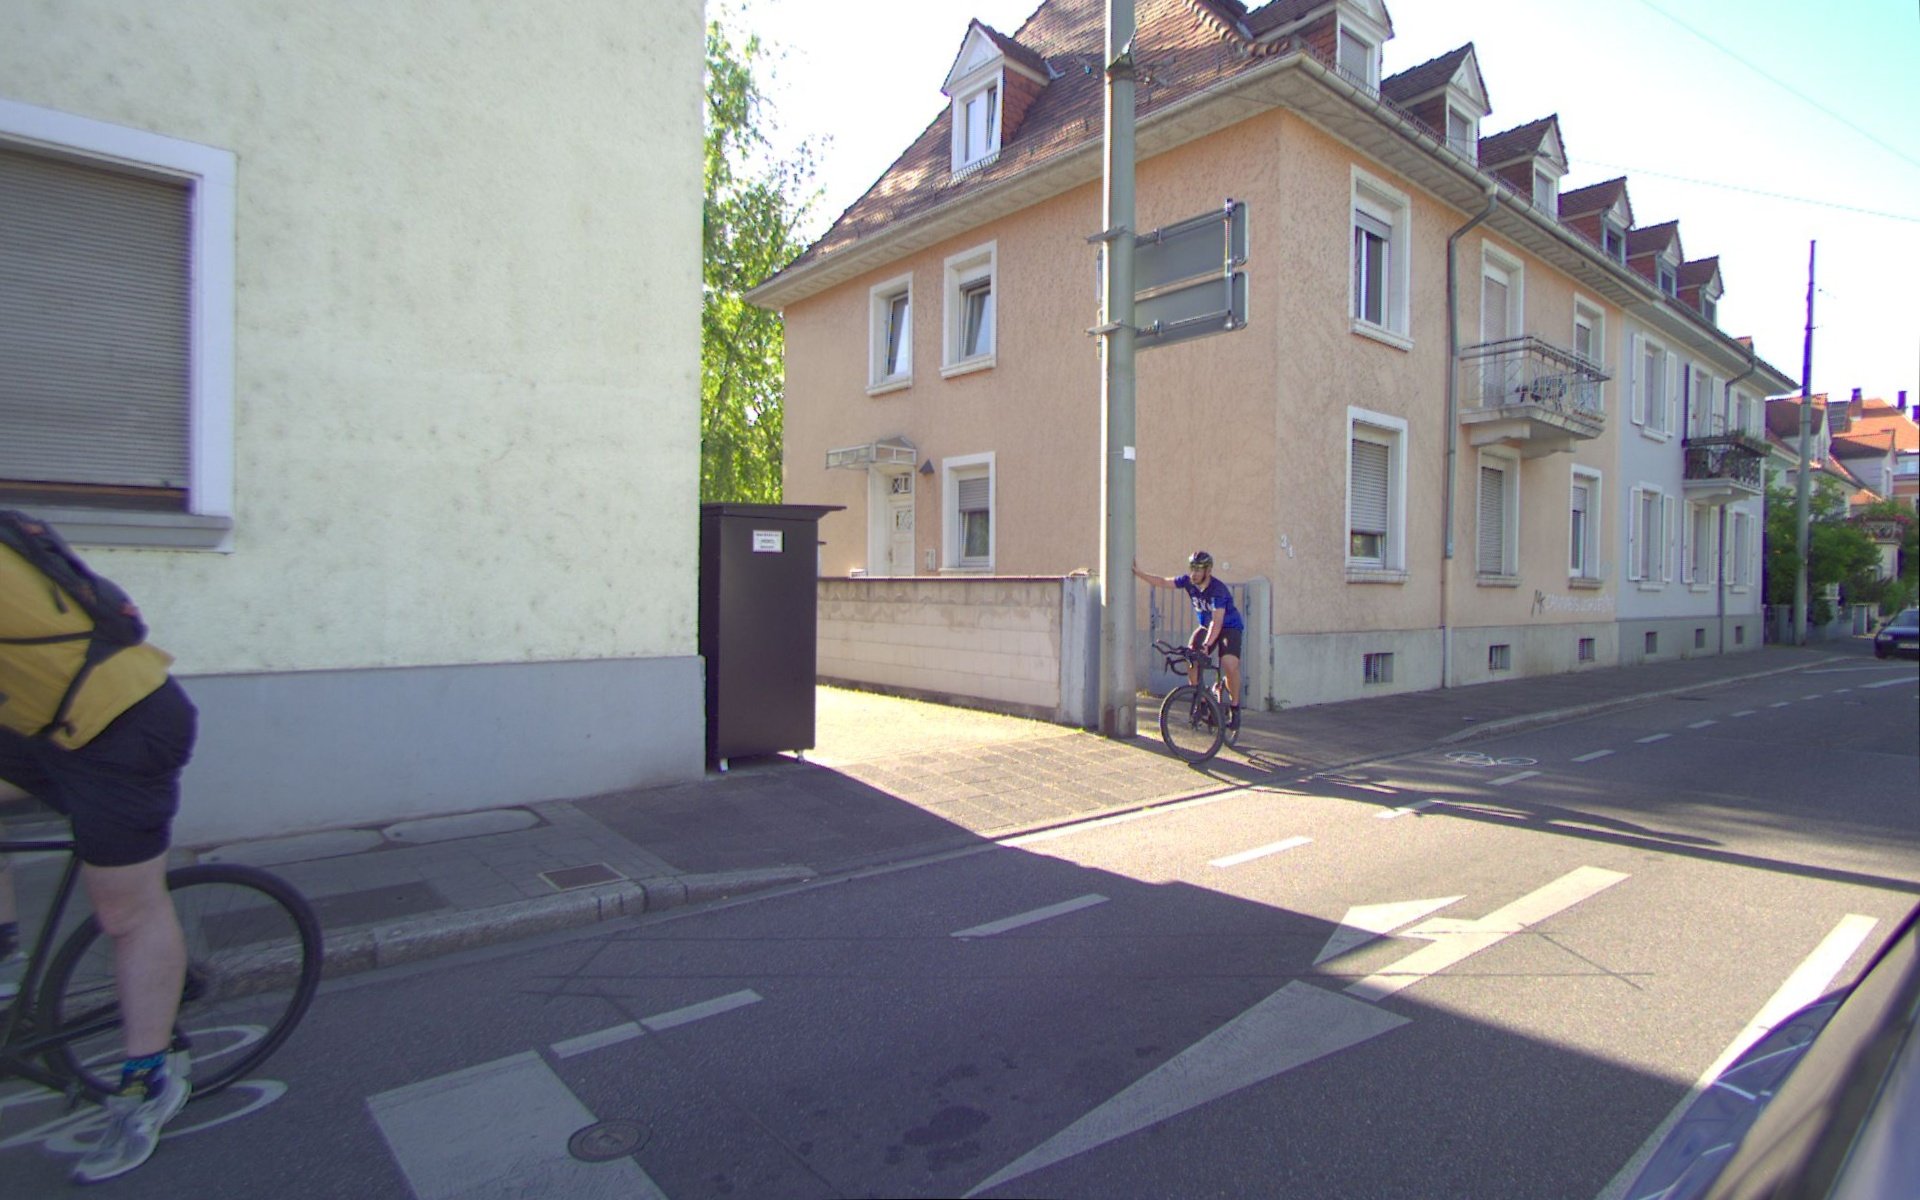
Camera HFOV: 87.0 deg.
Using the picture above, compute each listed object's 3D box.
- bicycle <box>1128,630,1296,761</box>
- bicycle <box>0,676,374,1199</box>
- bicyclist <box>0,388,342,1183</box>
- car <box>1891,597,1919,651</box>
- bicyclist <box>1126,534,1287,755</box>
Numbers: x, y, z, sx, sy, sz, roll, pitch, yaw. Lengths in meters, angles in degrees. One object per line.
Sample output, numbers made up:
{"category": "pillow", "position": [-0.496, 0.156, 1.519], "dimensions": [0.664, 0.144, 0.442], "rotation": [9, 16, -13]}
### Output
{"category": "bicycle", "position": [2.317, 0.820, 9.208], "dimensions": [1.669, 1.003, 0.572], "rotation": [0, 4, -41]}
{"category": "bicycle", "position": [-2.476, 0.846, 2.534], "dimensions": [1.669, 1.180, 0.572], "rotation": [0, 1, -41]}
{"category": "bicyclist", "position": [-2.300, 0.424, 2.698], "dimensions": [1.018, 1.840, 0.653], "rotation": [0, 1, -41]}
{"category": "car", "position": [26.699, 0.634, 27.342], "dimensions": [3.796, 1.382, 1.648], "rotation": [0, 1, -38]}
{"category": "bicyclist", "position": [2.284, 0.364, 9.433], "dimensions": [0.831, 1.887, 1.076], "rotation": [0, 4, -40]}
